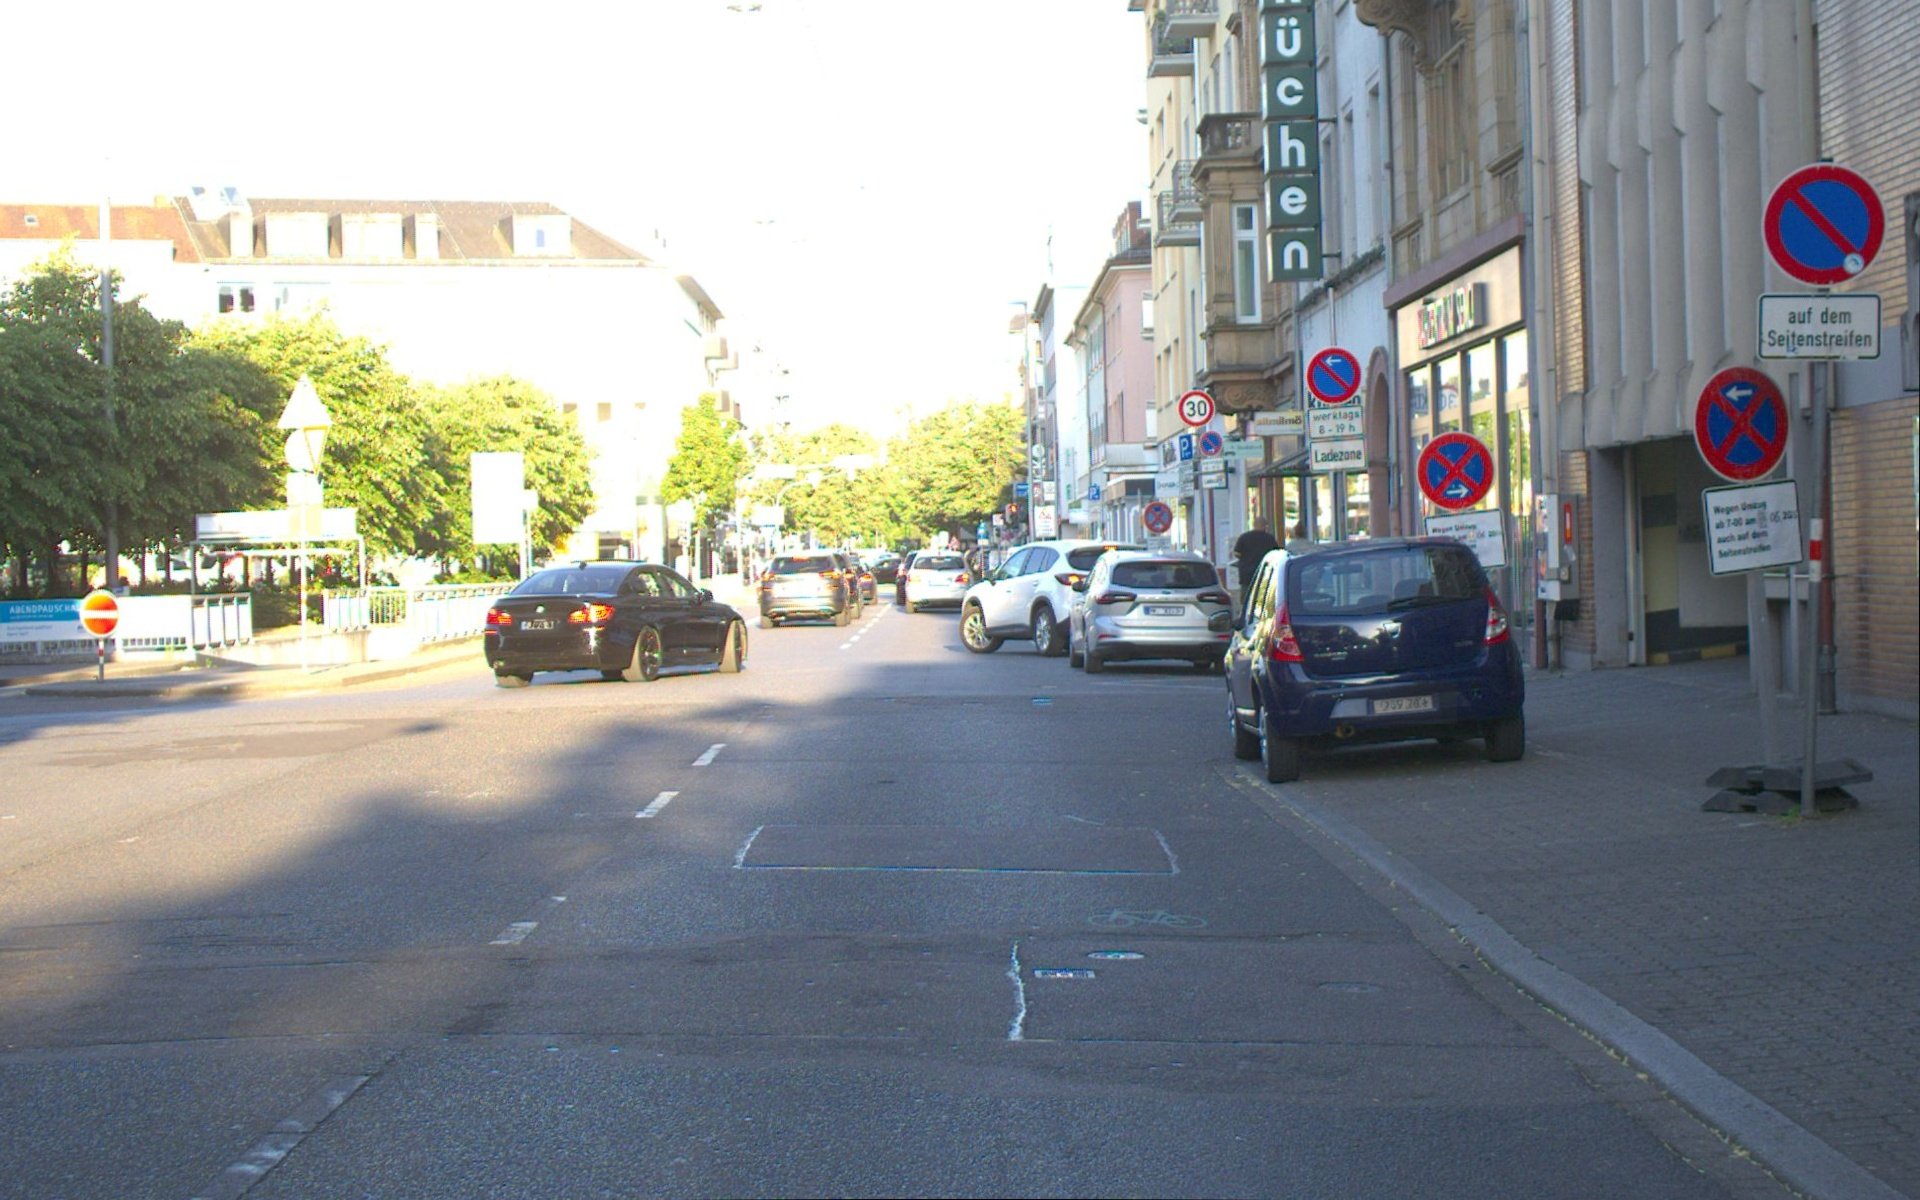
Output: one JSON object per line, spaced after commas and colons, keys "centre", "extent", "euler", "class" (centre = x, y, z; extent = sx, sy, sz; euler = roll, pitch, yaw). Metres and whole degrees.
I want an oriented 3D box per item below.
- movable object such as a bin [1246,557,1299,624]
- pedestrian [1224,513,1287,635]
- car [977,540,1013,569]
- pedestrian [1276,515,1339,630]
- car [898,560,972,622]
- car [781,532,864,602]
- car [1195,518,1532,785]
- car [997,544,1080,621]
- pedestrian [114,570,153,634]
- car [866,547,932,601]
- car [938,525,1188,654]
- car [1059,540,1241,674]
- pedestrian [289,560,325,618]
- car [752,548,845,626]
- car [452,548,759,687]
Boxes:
{"centre": [5.259, -0.161, 57.871], "extent": [0.774, 1.066, 0.618], "euler": [-3, 1, -1], "class": "movable object such as a bin"}
{"centre": [4.524, -0.400, 52.710], "extent": [0.772, 1.821, 1.011], "euler": [-3, 1, -1], "class": "pedestrian"}
{"centre": [1.970, -2.587, 194.989], "extent": [1.896, 1.575, 3.852], "euler": [-2, 1, -1], "class": "car"}
{"centre": [5.336, -0.427, 52.828], "extent": [0.772, 1.705, 1.042], "euler": [-3, 1, -1], "class": "pedestrian"}
{"centre": [-0.675, -0.255, 90.176], "extent": [1.896, 1.576, 4.000], "euler": [0, 1, -1], "class": "car"}
{"centre": [-3.324, -0.810, 83.707], "extent": [1.896, 1.644, 4.104], "euler": [-1, 1, -1], "class": "car"}
{"centre": [2.651, 0.285, 23.404], "extent": [1.759, 1.531, 4.000], "euler": [-4, 1, 1], "class": "car"}
{"centre": [1.715, -0.394, 76.366], "extent": [1.730, 1.645, 4.284], "euler": [1, 0, 0], "class": "car"}
{"centre": [-20.614, 0.042, 85.779], "extent": [0.678, 1.589, 0.676], "euler": [0, 1, 19], "class": "pedestrian"}
{"centre": [-1.836, -0.796, 103.857], "extent": [1.896, 1.575, 3.852], "euler": [1, 1, -1], "class": "car"}
{"centre": [1.455, -0.163, 50.685], "extent": [1.993, 1.755, 4.467], "euler": [-2, 1, -22], "class": "car"}
{"centre": [2.254, 0.070, 41.939], "extent": [1.759, 1.531, 4.822], "euler": [1, 0, -2], "class": "car"}
{"centre": [-18.085, -0.314, 95.213], "extent": [0.791, 1.589, 0.567], "euler": [0, 1, 19], "class": "pedestrian"}
{"centre": [-3.517, -0.303, 75.458], "extent": [1.896, 1.644, 4.104], "euler": [-1, 1, -1], "class": "car"}
{"centre": [-4.204, 0.172, 41.334], "extent": [1.899, 1.576, 3.995], "euler": [1, 1, 25], "class": "car"}
